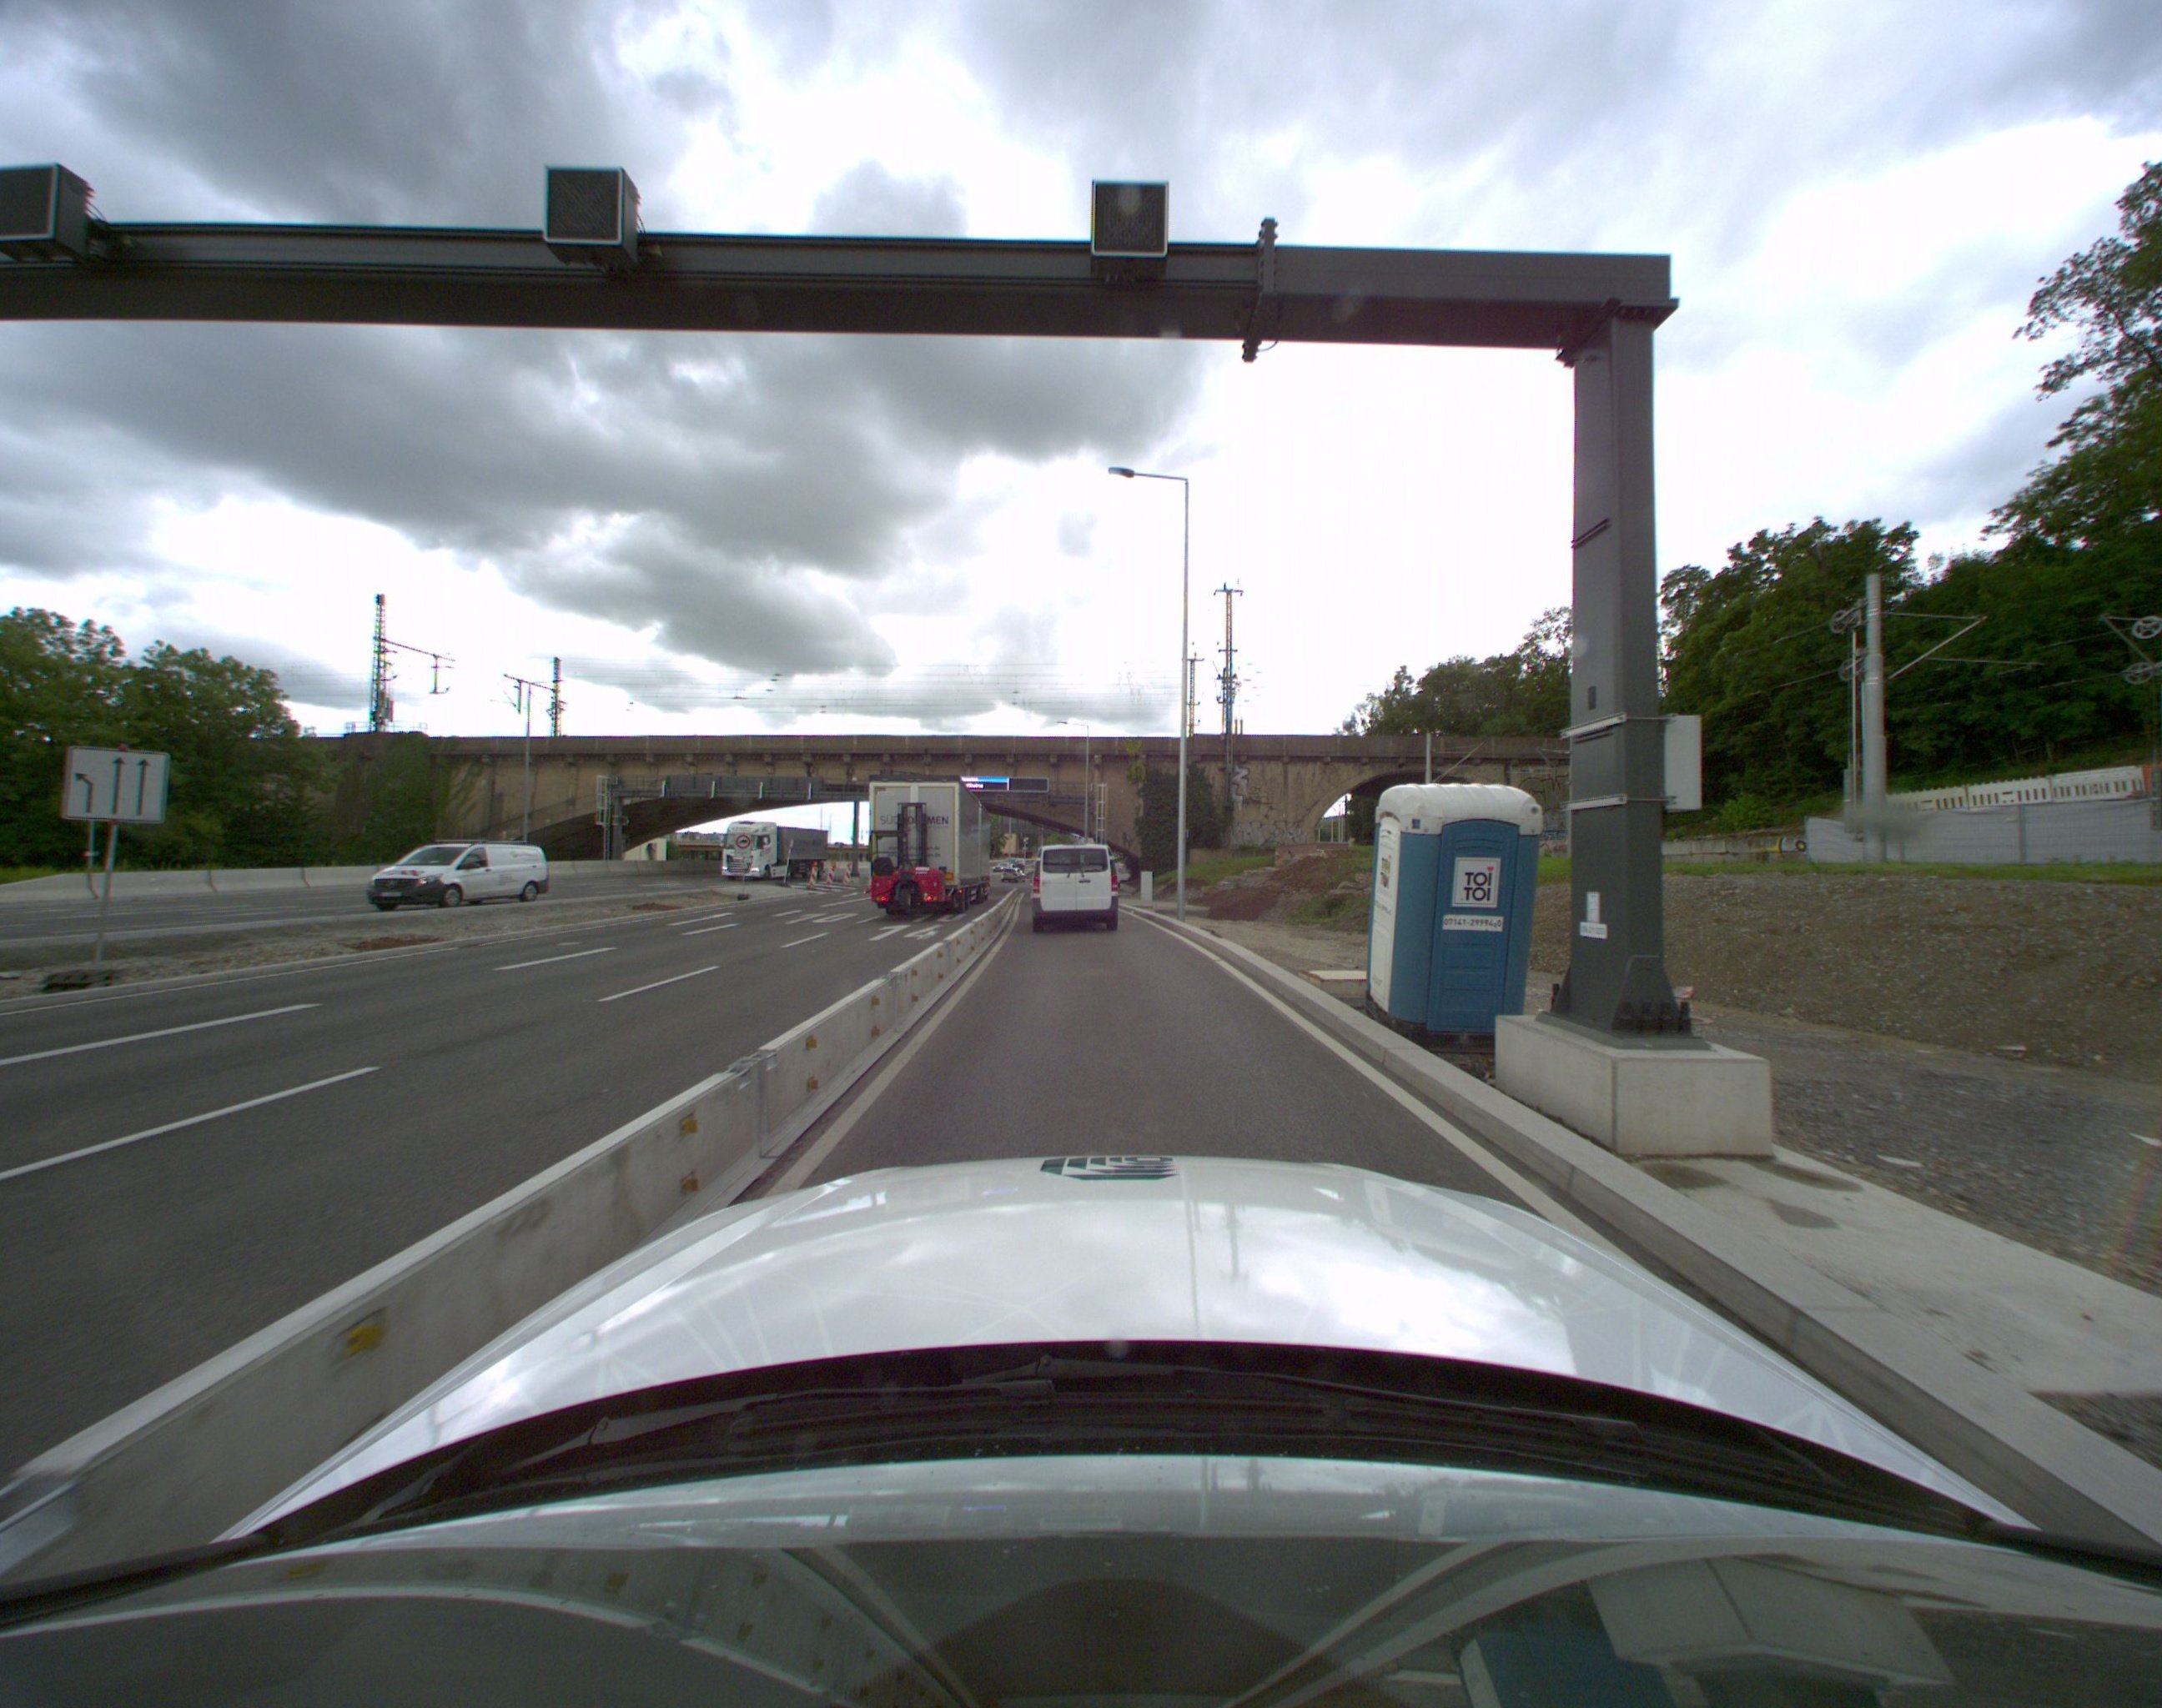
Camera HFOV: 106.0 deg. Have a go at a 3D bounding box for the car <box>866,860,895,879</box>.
[{"bbox_3d":[-18.497,1.397,75.226,1.701,1.620,4.448,-2,-1,-2],"label":"car"}]

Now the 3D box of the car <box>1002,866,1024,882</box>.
[{"bbox_3d":[-6.959,2.025,83.196,1.750,1.552,4.002,0,0,2],"label":"car"}]

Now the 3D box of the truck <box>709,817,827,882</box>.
[{"bbox_3d":[-21.833,-0.293,58.151,2.889,4.061,13.989,0,0,1],"label":"truck"}]

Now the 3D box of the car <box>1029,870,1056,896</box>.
[{"bbox_3d":[-2.191,1.690,47.008,1.497,1.469,3.395,0,-3,-2],"label":"car"}]

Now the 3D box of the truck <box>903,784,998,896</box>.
[{"bbox_3d":[-5.536,-0.495,36.629,2.981,4.176,11.225,2,-1,-3],"label":"truck"}]

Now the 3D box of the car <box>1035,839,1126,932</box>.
[{"bbox_3d":[-0.112,0.698,19.275,1.872,1.891,4.748,0,-1,-3],"label":"car"}]

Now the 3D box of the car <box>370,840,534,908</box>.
[{"bbox_3d":[-18.280,0.537,23.909,1.819,1.807,3.801,0,0,0],"label":"car"}]

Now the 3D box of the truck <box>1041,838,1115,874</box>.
[{"bbox_3d":[-0.032,0.324,96.002,3.290,3.809,16.672,2,0,19],"label":"truck"}]

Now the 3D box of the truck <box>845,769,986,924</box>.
[{"bbox_3d":[-4.960,-0.151,26.629,2.911,4.017,10.188,2,-1,-3],"label":"truck"}]
